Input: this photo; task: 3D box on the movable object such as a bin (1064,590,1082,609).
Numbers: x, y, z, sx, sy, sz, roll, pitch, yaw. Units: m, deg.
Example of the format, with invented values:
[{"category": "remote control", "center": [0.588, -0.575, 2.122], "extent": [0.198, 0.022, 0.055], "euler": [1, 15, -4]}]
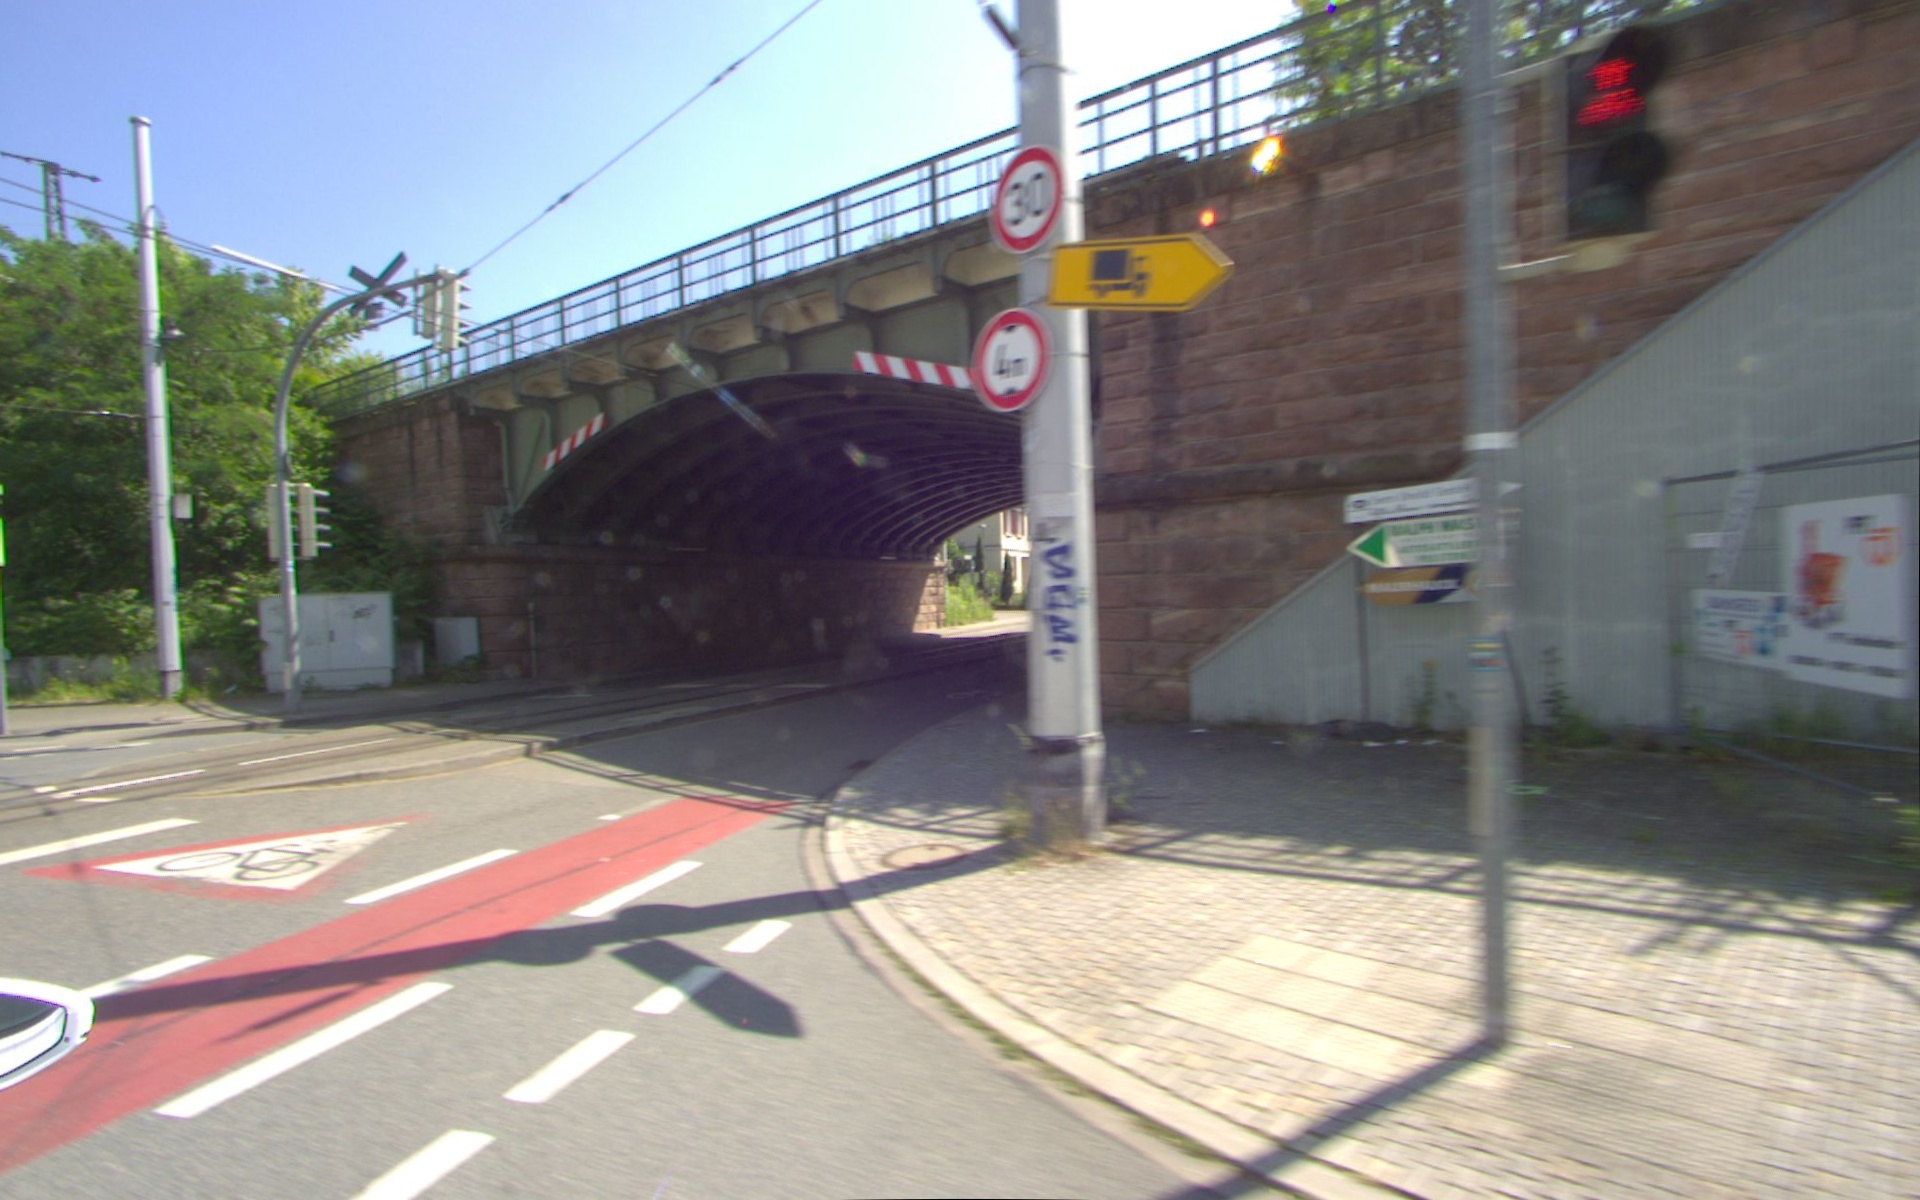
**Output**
[{"category": "movable object such as a bin", "center": [7.324, -0.018, 64.913], "extent": [1.021, 1.178, 0.972], "euler": [-1, 1, 18]}]

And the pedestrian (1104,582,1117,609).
[{"category": "pedestrian", "center": [10.518, -0.314, 70.035], "extent": [0.729, 1.842, 0.849], "euler": [0, 1, 18]}]
